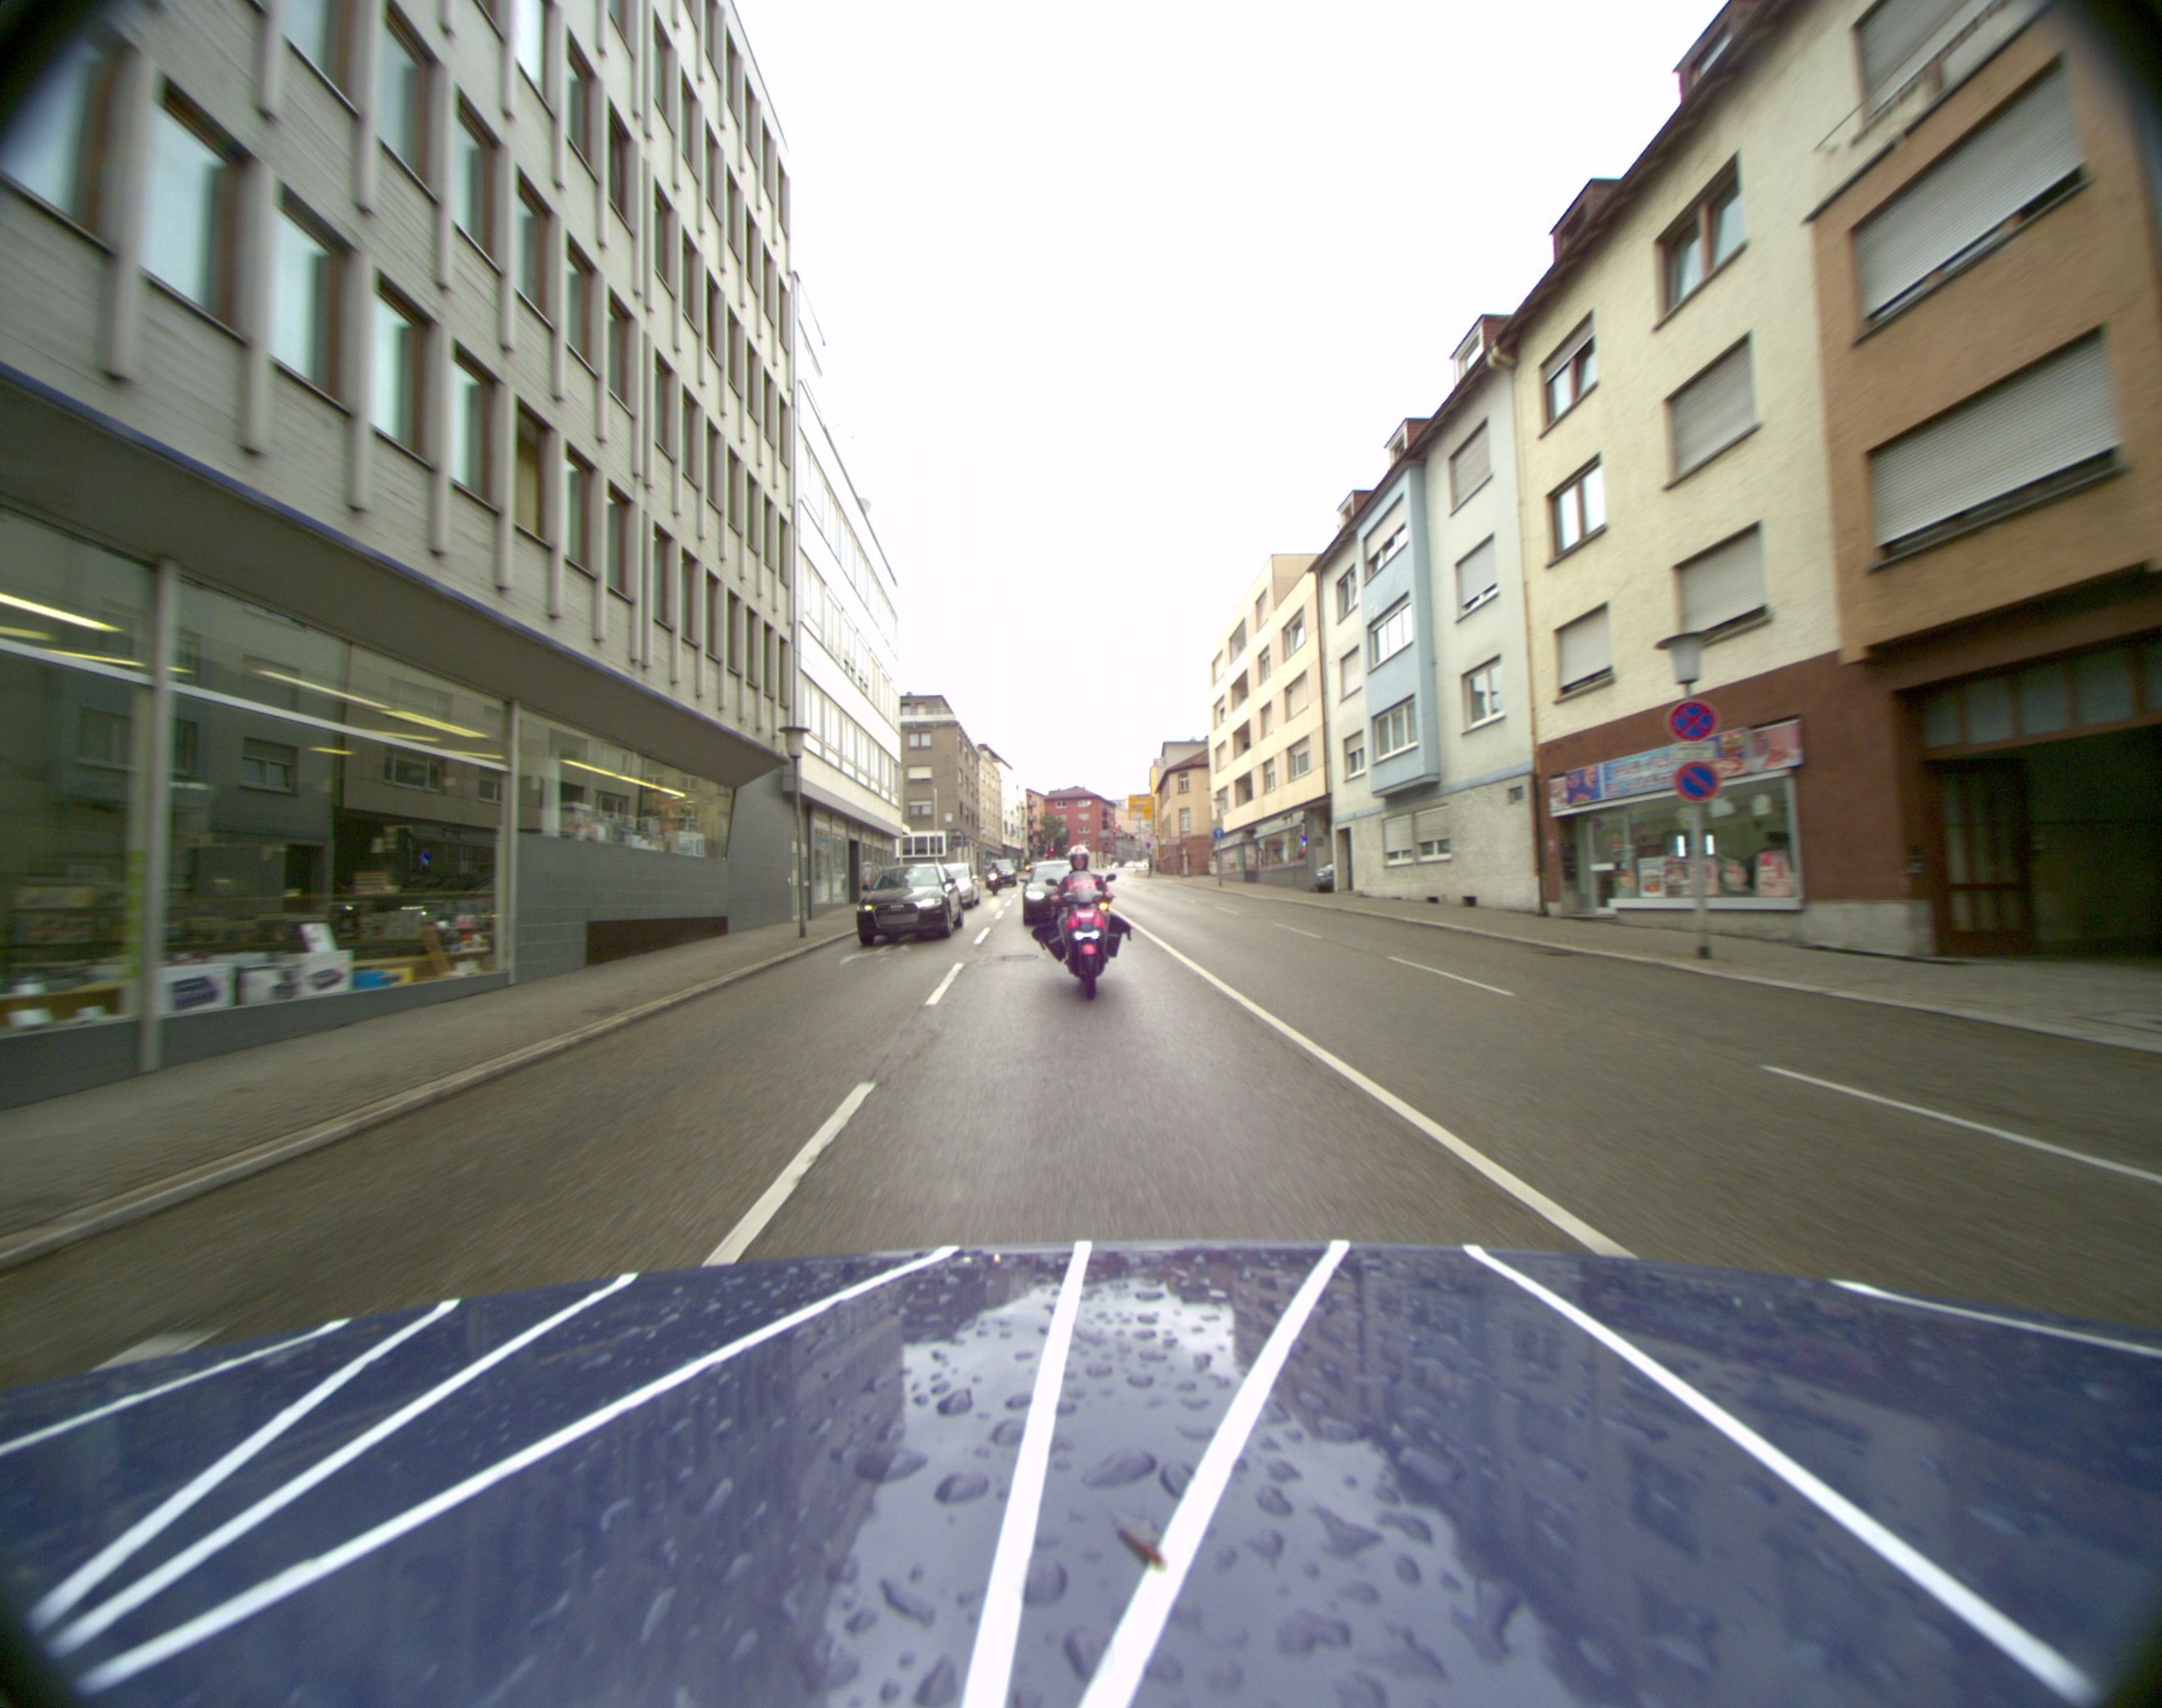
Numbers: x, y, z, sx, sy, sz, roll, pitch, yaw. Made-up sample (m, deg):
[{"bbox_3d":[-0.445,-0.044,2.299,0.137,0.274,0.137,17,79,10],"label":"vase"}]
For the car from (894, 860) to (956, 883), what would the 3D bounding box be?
[{"bbox_3d":[-12.763,1.424,62.247,4.532,1.495,2.000,-4,0,2],"label":"car"}]

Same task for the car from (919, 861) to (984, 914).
[{"bbox_3d":[-4.513,1.118,27.034,1.831,1.532,4.250,-5,0,-6],"label":"car"}]

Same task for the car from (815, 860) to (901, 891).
[{"bbox_3d":[-11.152,1.091,37.938,4.004,1.441,1.796,2,-1,-19],"label":"car"}]

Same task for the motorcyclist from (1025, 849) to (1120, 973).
[{"bbox_3d":[-0.095,0.660,9.194,1.010,1.373,0.835,-4,0,0],"label":"motorcyclist"}]

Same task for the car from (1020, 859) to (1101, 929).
[{"bbox_3d":[-0.620,0.912,19.185,1.706,1.451,4.317,-4,0,-5],"label":"car"}]

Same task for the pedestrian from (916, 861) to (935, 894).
[{"bbox_3d":[-7.521,1.131,36.726,0.767,1.542,0.890,1,1,-5],"label":"pedestrian"}]

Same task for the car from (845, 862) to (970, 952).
[{"bbox_3d":[-3.613,1.035,16.591,1.828,1.551,4.200,-4,0,-3],"label":"car"}]

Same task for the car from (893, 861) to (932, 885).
[{"bbox_3d":[-11.583,1.285,52.547,1.793,1.503,4.436,-2,0,-1],"label":"car"}]

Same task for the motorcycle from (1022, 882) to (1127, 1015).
[{"bbox_3d":[-0.073,1.029,9.233,1.010,1.218,2.694,-4,0,0],"label":"motorcycle"}]

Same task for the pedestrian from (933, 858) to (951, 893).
[{"bbox_3d":[-6.970,1.081,38.091,0.786,1.696,1.120,1,1,-5],"label":"pedestrian"}]

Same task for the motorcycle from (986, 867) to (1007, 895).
[{"bbox_3d":[-4.020,1.259,36.110,0.847,1.219,2.371,-5,0,-7],"label":"motorcycle"}]

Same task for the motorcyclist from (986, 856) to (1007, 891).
[{"bbox_3d":[-4.041,0.926,36.116,0.847,1.580,0.962,-5,1,-7],"label":"motorcyclist"}]

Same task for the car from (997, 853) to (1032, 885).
[{"bbox_3d":[-4.164,0.899,47.436,1.850,1.892,3.762,-2,0,-9],"label":"car"}]

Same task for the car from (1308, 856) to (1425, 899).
[{"bbox_3d":[11.335,0.943,30.282,4.001,1.342,1.678,5,-3,-9],"label":"car"}]
